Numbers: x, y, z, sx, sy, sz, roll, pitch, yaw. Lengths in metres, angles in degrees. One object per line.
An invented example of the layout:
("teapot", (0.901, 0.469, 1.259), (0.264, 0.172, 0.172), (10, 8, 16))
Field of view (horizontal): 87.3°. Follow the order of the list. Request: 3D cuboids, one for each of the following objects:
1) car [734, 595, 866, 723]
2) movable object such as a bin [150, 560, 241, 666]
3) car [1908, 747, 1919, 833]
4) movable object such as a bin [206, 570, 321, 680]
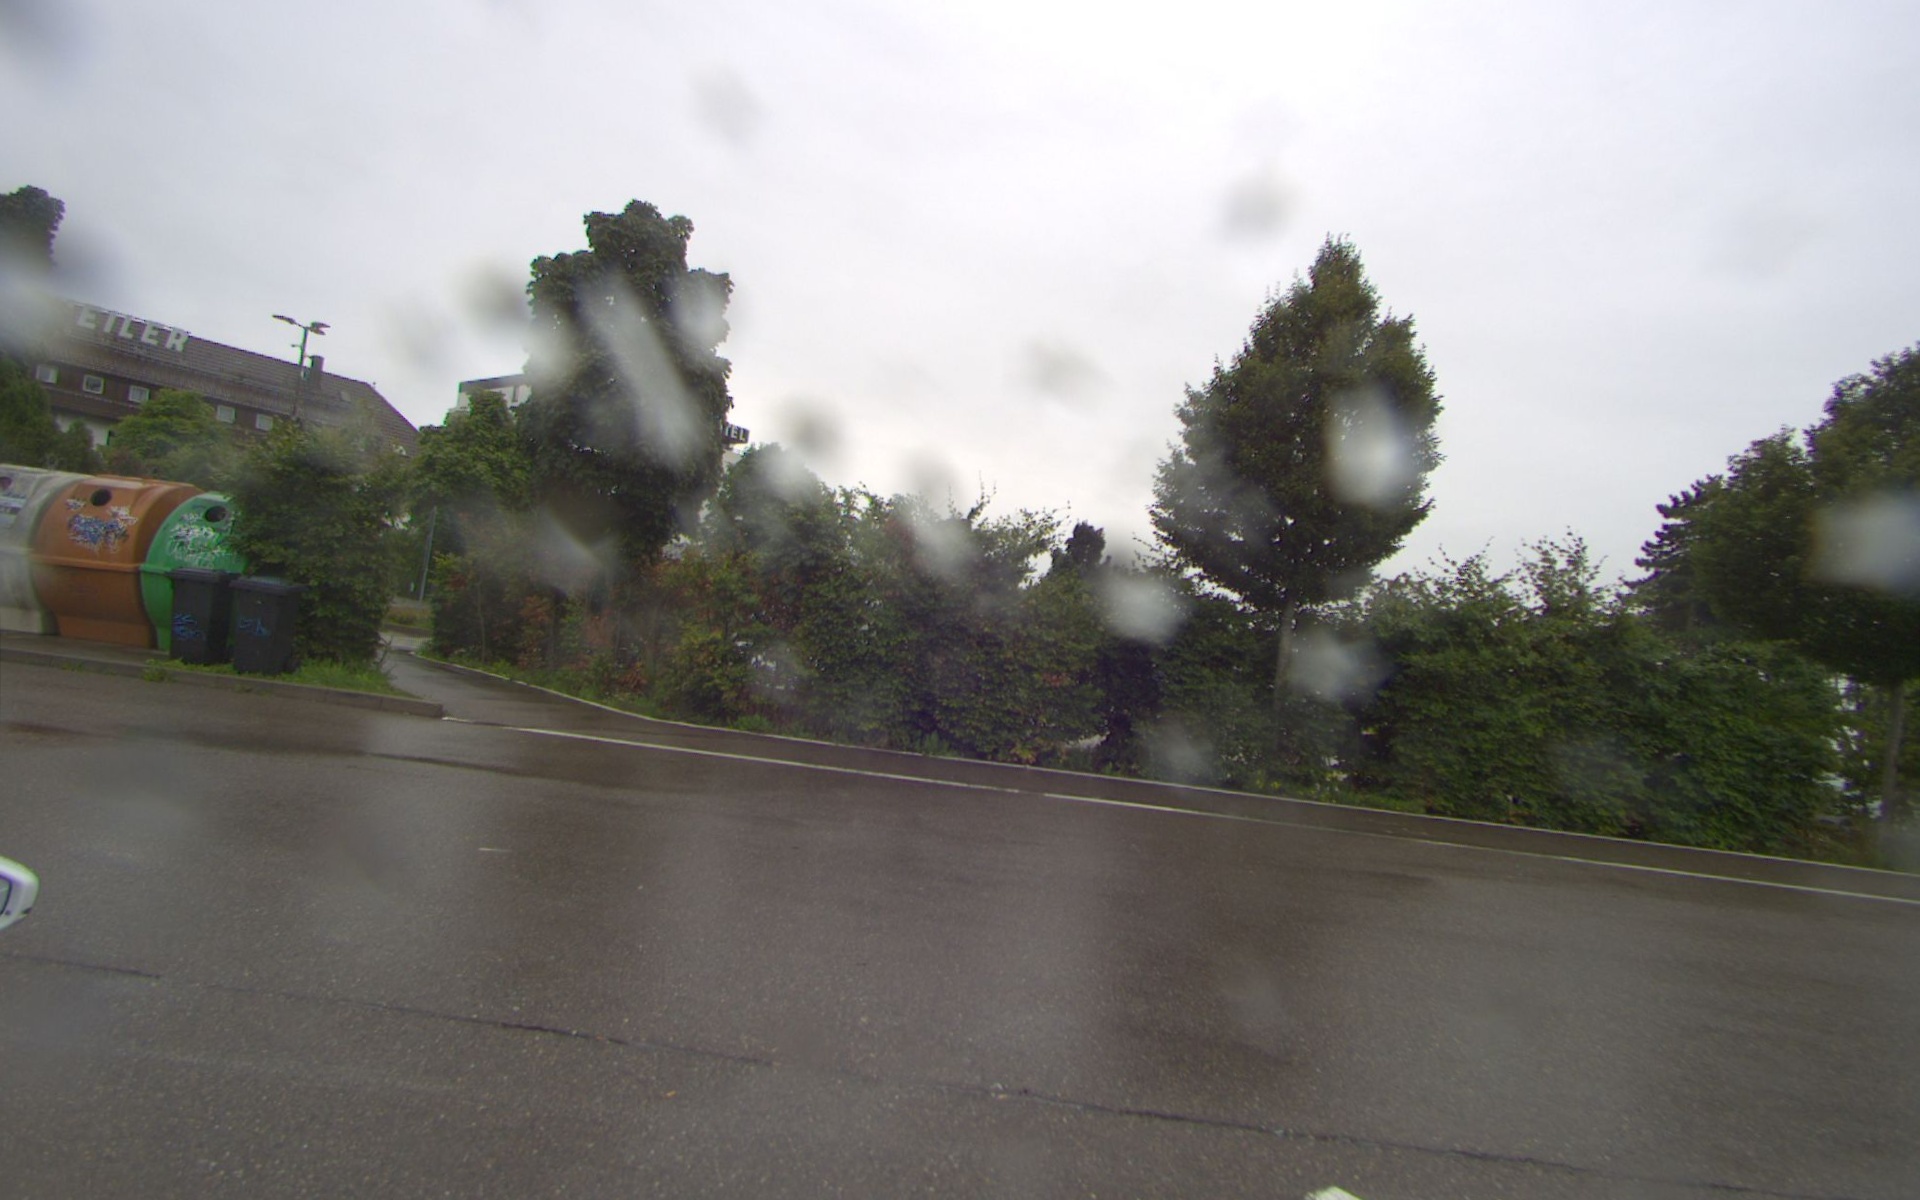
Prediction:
("car", (-2.305, 0.885, 15.276), (1.520, 1.528, 3.669), (7, -3, -4))
("movable object such as a bin", (-7.303, 0.130, 9.610), (0.409, 0.931, 0.494), (7, 0, 31))
("car", (17.985, 3.424, 16.033), (1.733, 1.514, 4.096), (7, -2, 0))
("movable object such as a bin", (-6.494, 0.238, 9.393), (0.547, 0.931, 0.629), (7, -1, 31))
